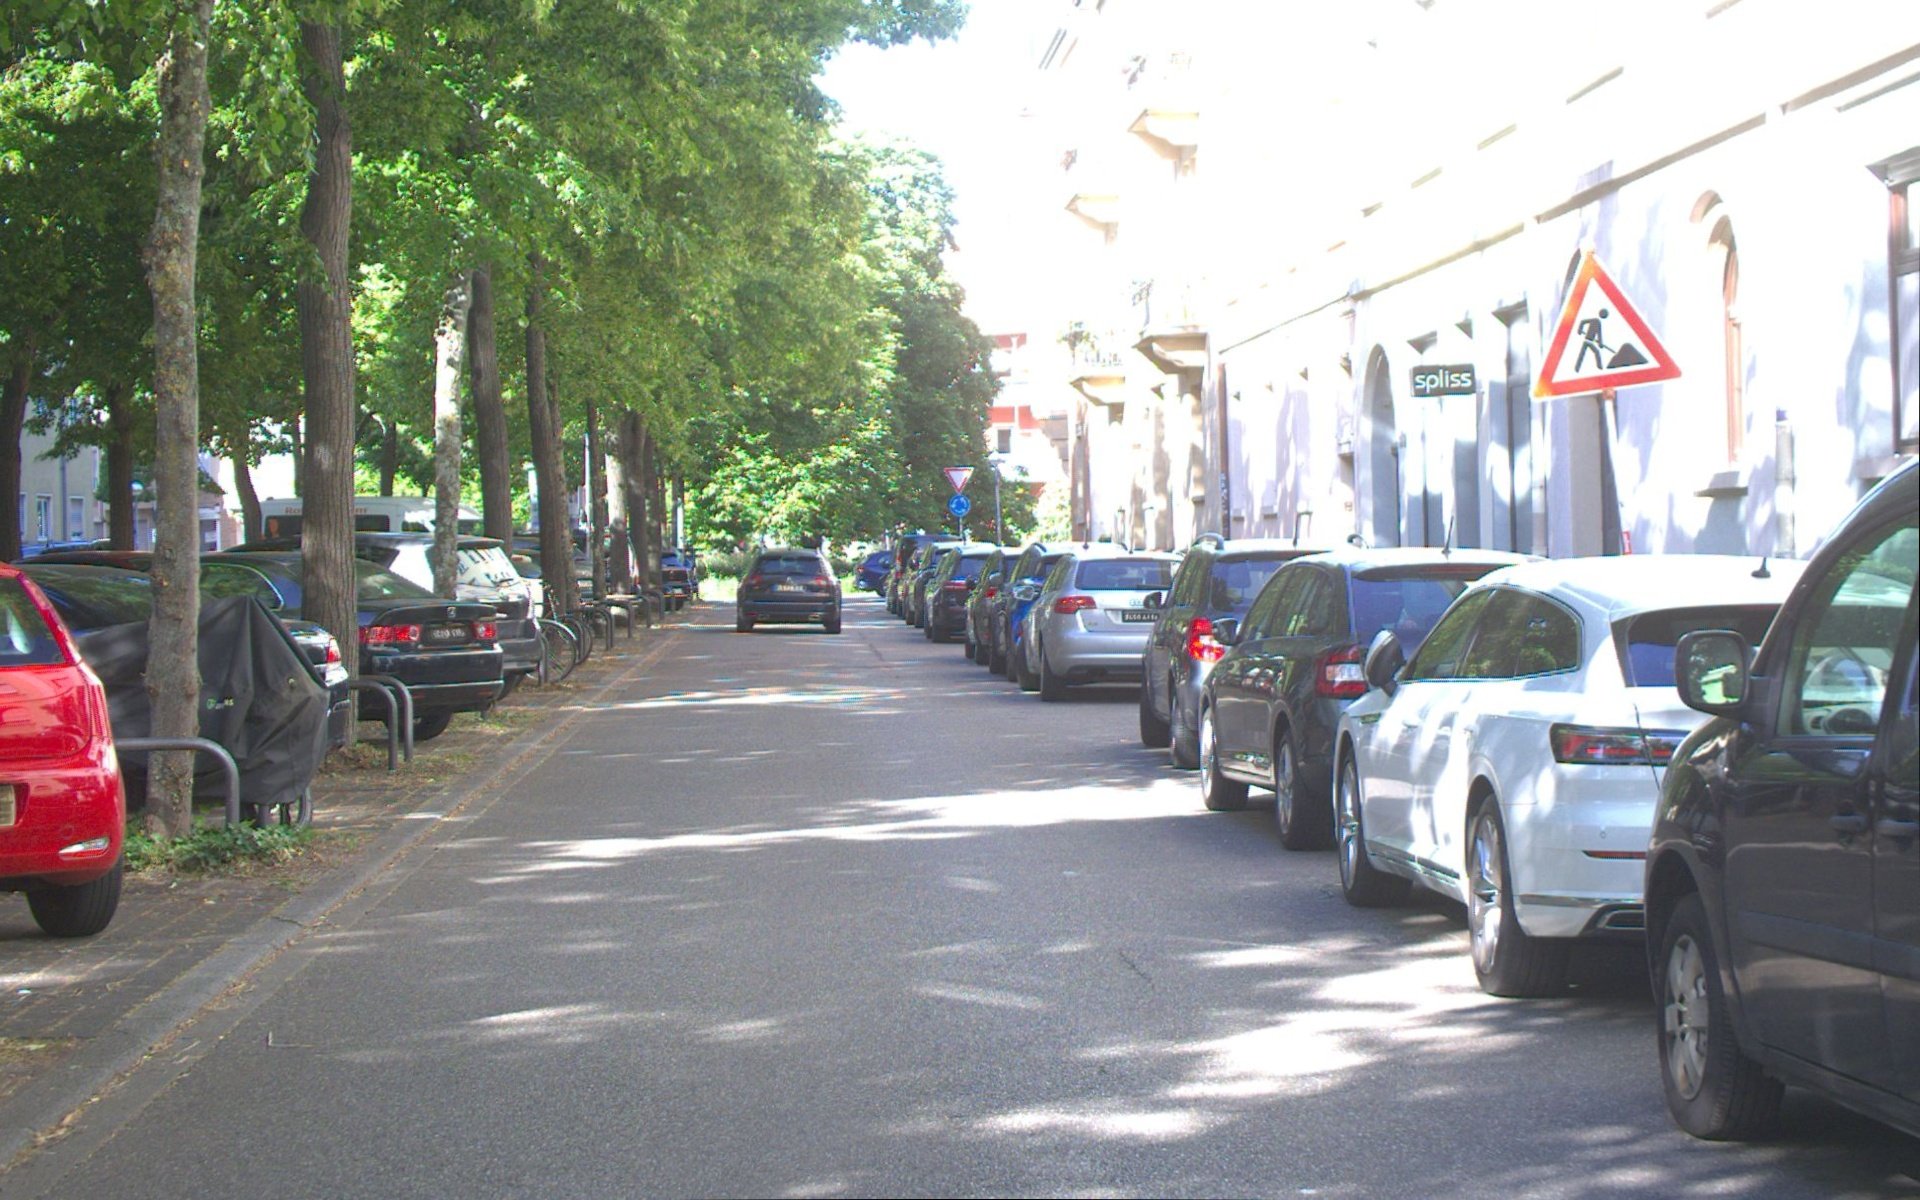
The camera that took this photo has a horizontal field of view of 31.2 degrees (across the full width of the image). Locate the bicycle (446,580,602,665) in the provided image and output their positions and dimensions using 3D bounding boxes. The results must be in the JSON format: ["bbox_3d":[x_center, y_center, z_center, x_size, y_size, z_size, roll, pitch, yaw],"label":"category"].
[{"bbox_3d":[-5.245,0.276,41.407,1.812,0.990,0.425,-1,1,13],"label":"bicycle"}]

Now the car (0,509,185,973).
[{"bbox_3d":[-4.767,0.521,13.400,1.659,1.612,3.878,-3,1,-42],"label":"car"}]

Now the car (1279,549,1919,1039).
[{"bbox_3d":[2.338,0.544,12.563,1.606,1.415,4.569,-1,1,-4],"label":"car"}]

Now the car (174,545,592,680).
[{"bbox_3d":[-6.707,0.110,39.875,4.620,1.481,1.758,1,1,26],"label":"car"}]

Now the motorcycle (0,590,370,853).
[{"bbox_3d":[-4.054,0.579,16.781,2.148,1.225,0.881,0,1,6],"label":"motorcycle"}]

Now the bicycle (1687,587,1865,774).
[{"bbox_3d":[5.476,0.516,23.164,0.406,1.182,1.849,-1,1,-12],"label":"bicycle"}]

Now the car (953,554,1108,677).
[{"bbox_3d":[0.849,0.162,43.535,1.692,1.463,4.005,0,1,-3],"label":"car"}]

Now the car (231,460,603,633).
[{"bbox_3d":[-9.864,-0.937,62.629,6.068,2.614,2.454,-5,-1,13],"label":"car"}]

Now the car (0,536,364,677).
[{"bbox_3d":[-8.772,0.052,37.603,4.108,1.468,1.869,0,1,26],"label":"car"}]

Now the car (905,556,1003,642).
[{"bbox_3d":[-0.131,-0.039,59.700,1.590,1.410,3.632,1,1,-2],"label":"car"}]

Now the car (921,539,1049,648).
[{"bbox_3d":[0.351,-0.134,53.724,1.805,1.558,4.321,-2,1,-1],"label":"car"}]

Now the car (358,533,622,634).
[{"bbox_3d":[-8.056,-0.299,58.853,4.268,1.636,1.653,1,1,26],"label":"car"}]

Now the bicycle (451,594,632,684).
[{"bbox_3d":[-4.418,0.407,36.277,1.899,0.916,0.379,1,1,17],"label":"bicycle"}]

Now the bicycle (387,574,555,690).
[{"bbox_3d":[-4.973,0.316,34.944,1.687,1.155,0.379,1,1,17],"label":"bicycle"}]

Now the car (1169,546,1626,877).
[{"bbox_3d":[2.150,0.484,17.887,1.599,1.487,3.967,-1,1,-4],"label":"car"}]

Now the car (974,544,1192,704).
[{"bbox_3d":[1.143,0.186,33.843,1.769,1.426,4.291,-1,1,-2],"label":"car"}]

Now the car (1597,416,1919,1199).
[{"bbox_3d":[2.734,0.505,7.243,1.771,1.787,3.990,-1,1,-4],"label":"car"}]

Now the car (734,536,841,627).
[{"bbox_3d":[-2.993,-0.345,60.212,1.714,1.478,4.145,-2,1,-1],"label":"car"}]

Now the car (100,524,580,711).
[{"bbox_3d":[-5.786,0.125,32.095,4.081,1.647,1.860,1,1,25],"label":"car"}]

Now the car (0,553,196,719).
[{"bbox_3d":[-8.988,0.283,30.564,4.192,1.386,1.815,0,1,31],"label":"car"}]

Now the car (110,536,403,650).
[{"bbox_3d":[-10.380,-0.106,50.705,3.909,1.550,1.843,-1,1,28],"label":"car"}]

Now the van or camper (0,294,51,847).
[{"bbox_3d":[-8.076,-0.174,18.179,6.295,2.815,2.404,1,1,26],"label":"van or camper"}]

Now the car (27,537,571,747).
[{"bbox_3d":[-5.072,0.321,26.216,4.014,1.469,1.623,-1,1,33],"label":"car"}]

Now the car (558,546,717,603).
[{"bbox_3d":[-8.652,-0.681,92.004,4.137,1.476,1.772,0,0,38],"label":"car"}]

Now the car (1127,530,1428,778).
[{"bbox_3d":[2.091,0.304,23.580,1.580,1.545,4.042,0,1,-2],"label":"car"}]

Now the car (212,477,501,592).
[{"bbox_3d":[-9.936,-1.057,56.591,4.385,1.771,1.897,-1,0,25],"label":"car"}]

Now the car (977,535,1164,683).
[{"bbox_3d":[1.193,0.060,38.869,1.767,1.546,4.184,-1,1,-2],"label":"car"}]

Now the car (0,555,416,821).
[{"bbox_3d":[-5.369,0.474,20.089,4.150,1.420,1.712,0,0,30],"label":"car"}]

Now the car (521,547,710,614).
[{"bbox_3d":[-7.696,-0.429,76.669,4.087,1.461,1.867,0,0,-9],"label":"car"}]

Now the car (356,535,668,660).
[{"bbox_3d":[-5.907,-0.055,45.323,3.687,1.590,1.771,1,1,23],"label":"car"}]
